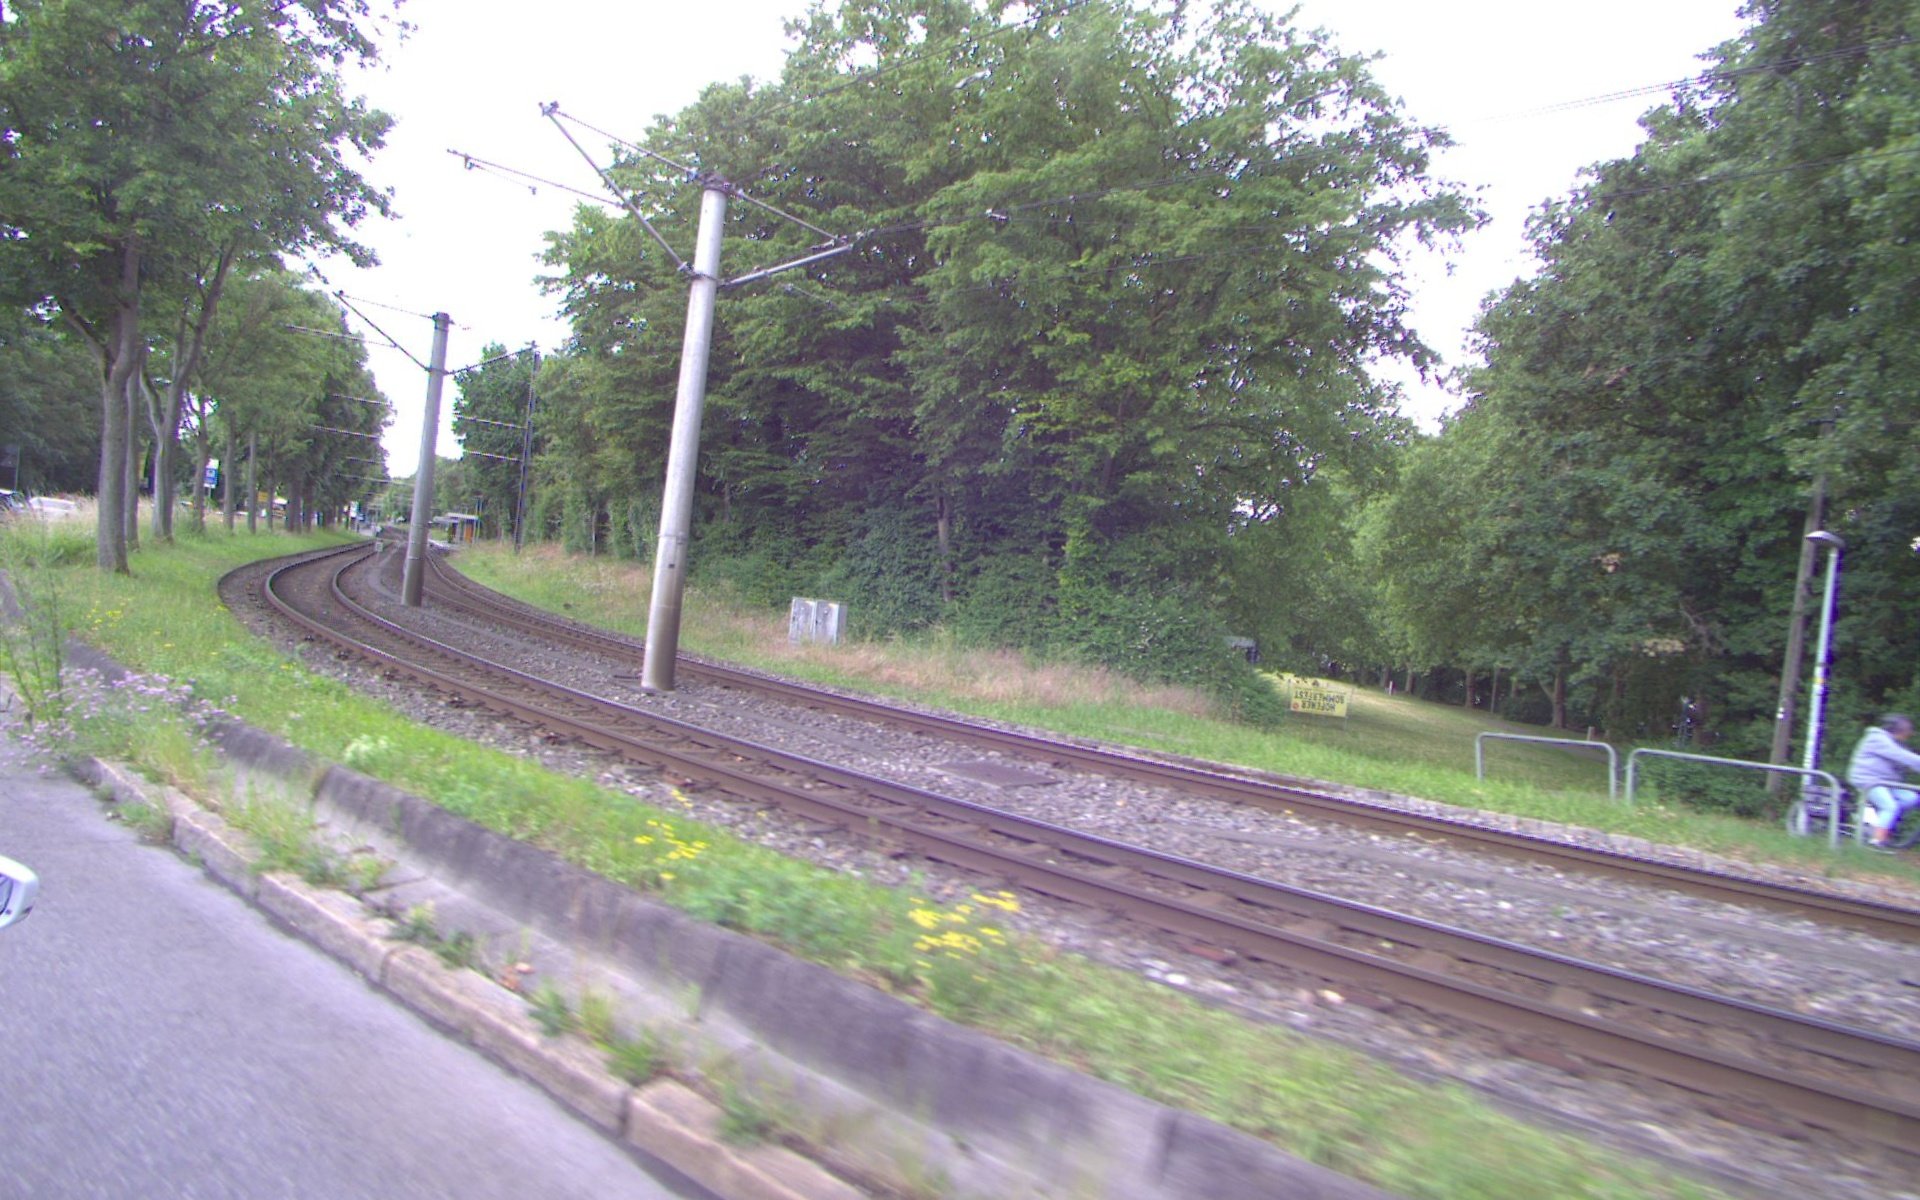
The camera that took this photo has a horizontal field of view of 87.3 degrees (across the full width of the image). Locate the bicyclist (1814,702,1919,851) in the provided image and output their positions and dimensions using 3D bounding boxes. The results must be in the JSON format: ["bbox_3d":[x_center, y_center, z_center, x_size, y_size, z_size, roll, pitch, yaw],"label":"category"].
[{"bbox_3d":[9.689,1.833,10.498,0.588,1.376,0.905,8,-1,-24],"label":"bicyclist"}]

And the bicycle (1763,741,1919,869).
[{"bbox_3d":[9.685,2.172,10.433,0.422,1.062,2.068,8,-1,-24],"label":"bicycle"}]

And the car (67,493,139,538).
[{"bbox_3d":[-38.235,-3.732,44.967,1.795,1.558,3.964,9,-2,-34],"label":"car"}]

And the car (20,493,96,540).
[{"bbox_3d":[-31.619,-2.897,35.329,1.491,1.381,3.553,6,0,-35],"label":"car"}]

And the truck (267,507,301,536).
[{"bbox_3d":[-110.329,-12.784,164.293,2.632,3.985,10.047,8,-1,-25],"label":"truck"}]

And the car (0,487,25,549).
[{"bbox_3d":[-25.993,-2.259,26.499,1.570,1.557,3.957,6,0,-39],"label":"car"}]
